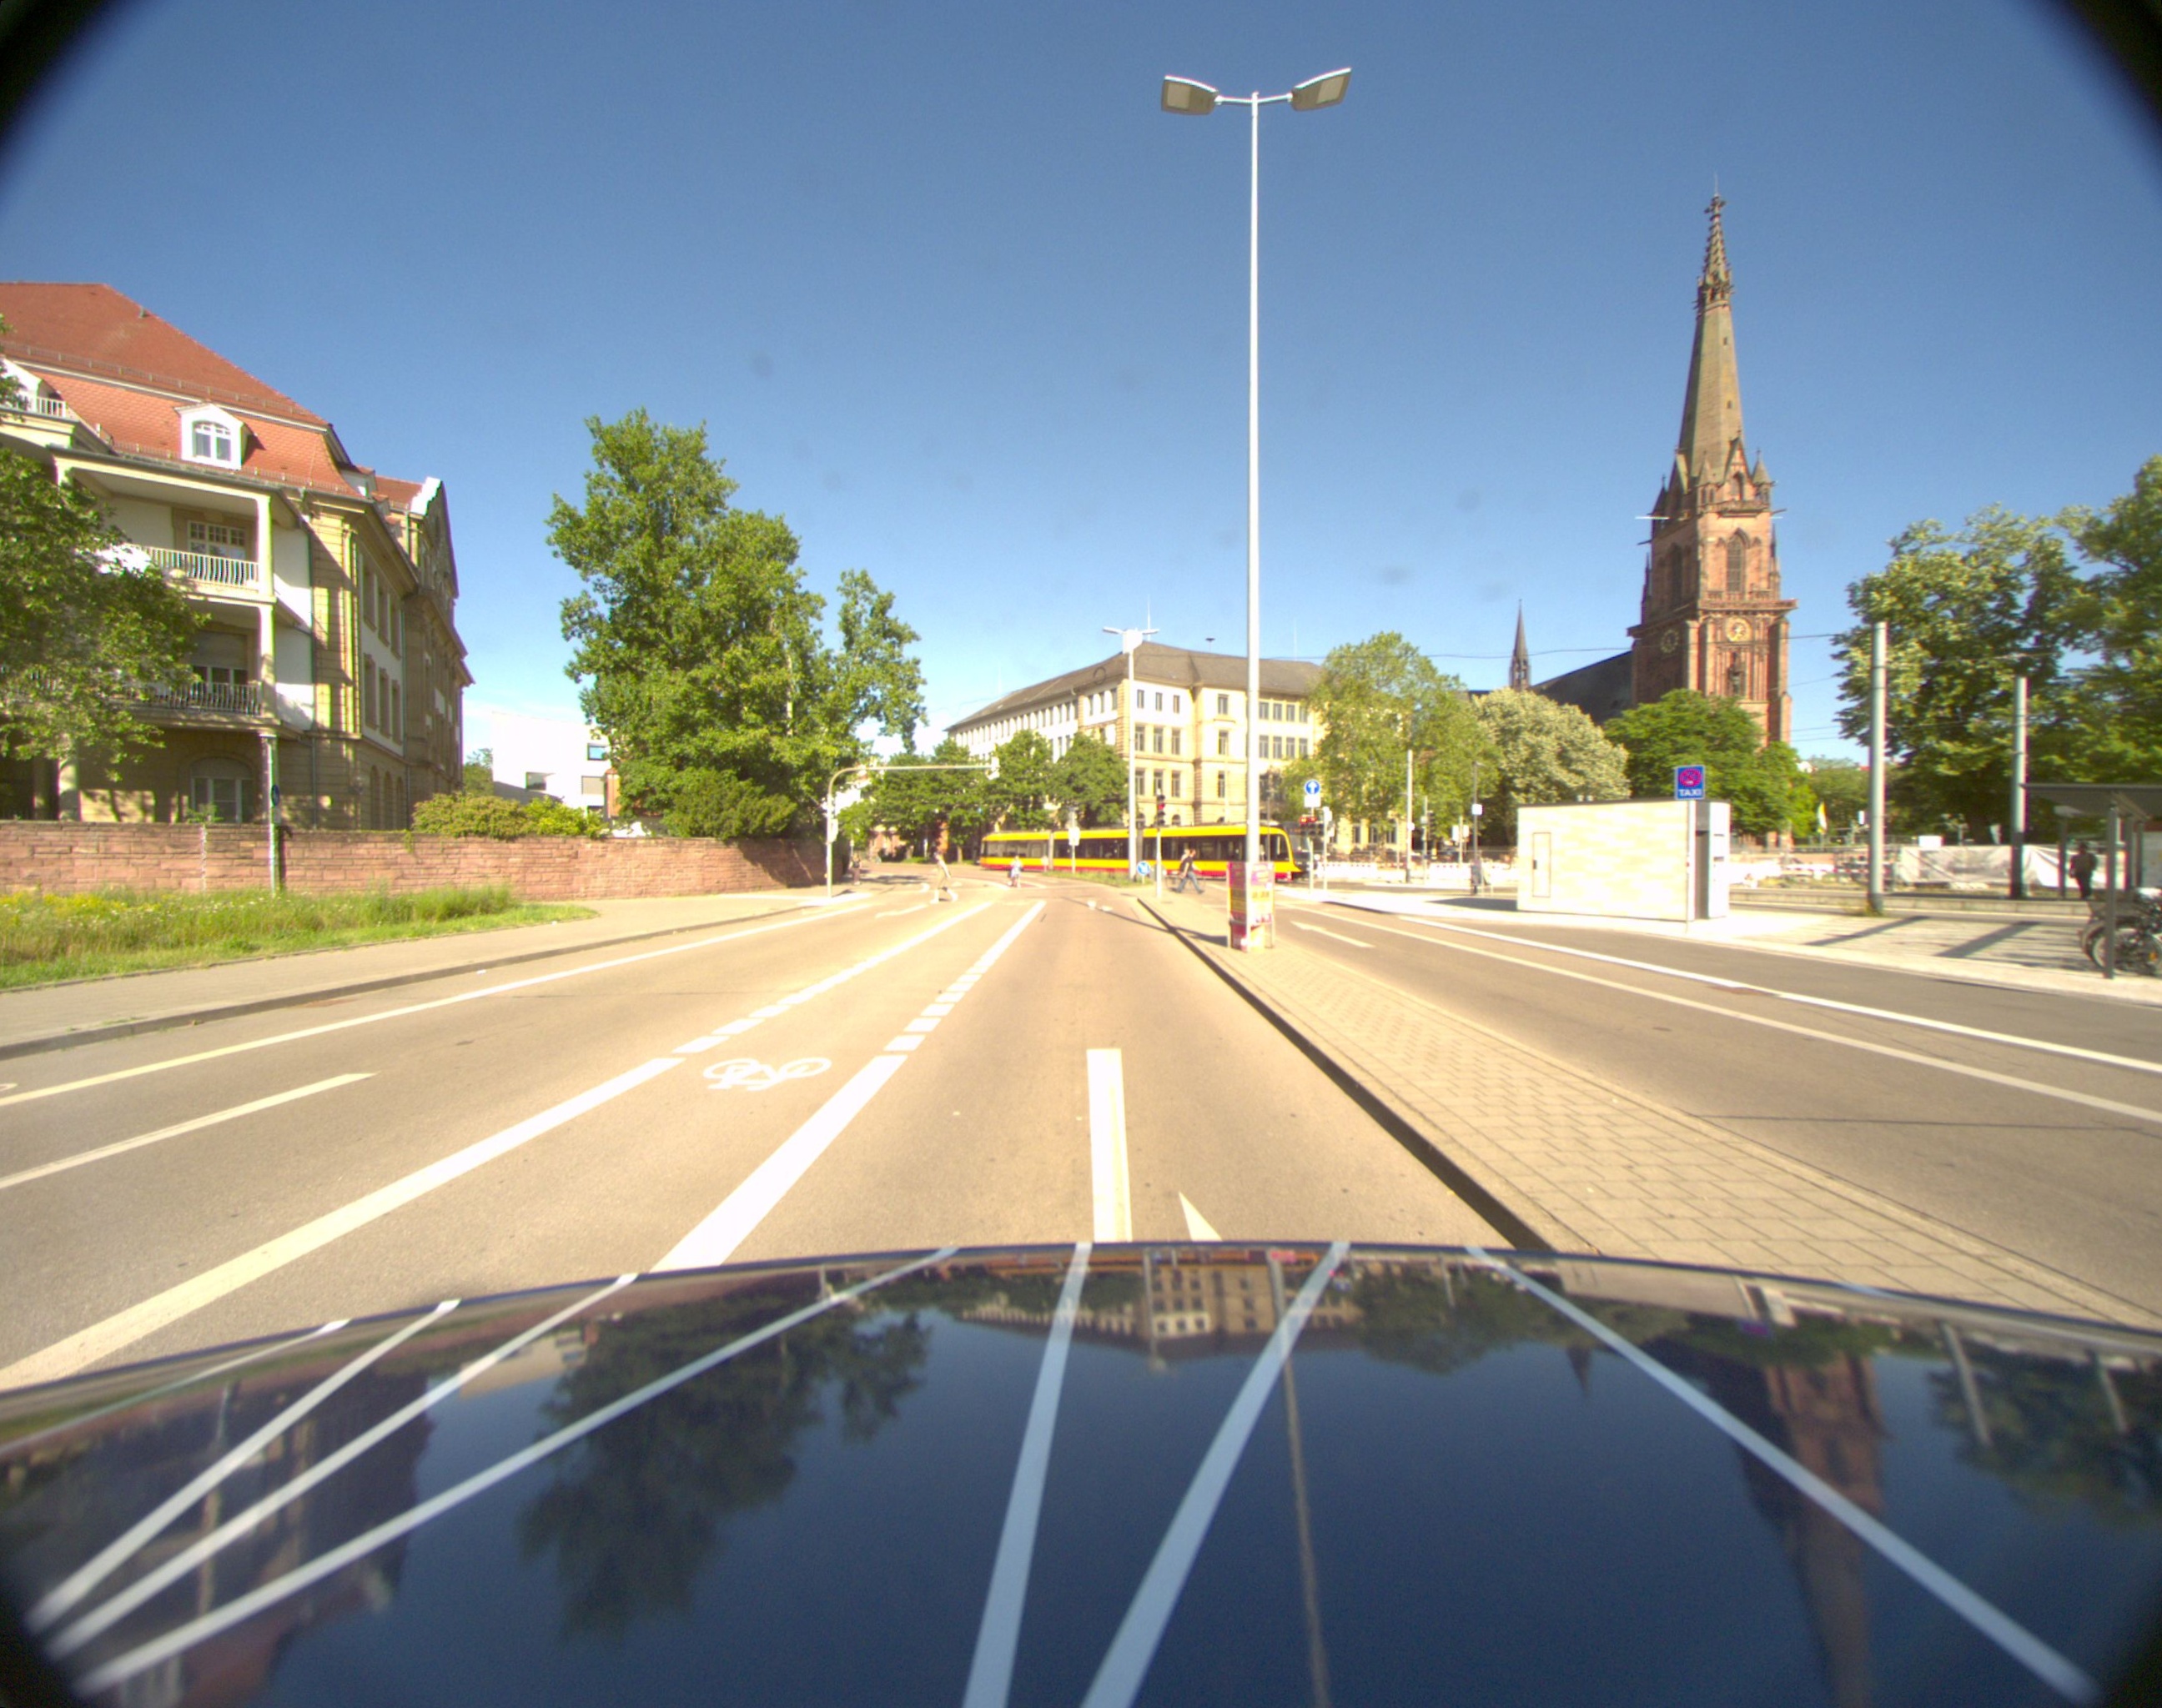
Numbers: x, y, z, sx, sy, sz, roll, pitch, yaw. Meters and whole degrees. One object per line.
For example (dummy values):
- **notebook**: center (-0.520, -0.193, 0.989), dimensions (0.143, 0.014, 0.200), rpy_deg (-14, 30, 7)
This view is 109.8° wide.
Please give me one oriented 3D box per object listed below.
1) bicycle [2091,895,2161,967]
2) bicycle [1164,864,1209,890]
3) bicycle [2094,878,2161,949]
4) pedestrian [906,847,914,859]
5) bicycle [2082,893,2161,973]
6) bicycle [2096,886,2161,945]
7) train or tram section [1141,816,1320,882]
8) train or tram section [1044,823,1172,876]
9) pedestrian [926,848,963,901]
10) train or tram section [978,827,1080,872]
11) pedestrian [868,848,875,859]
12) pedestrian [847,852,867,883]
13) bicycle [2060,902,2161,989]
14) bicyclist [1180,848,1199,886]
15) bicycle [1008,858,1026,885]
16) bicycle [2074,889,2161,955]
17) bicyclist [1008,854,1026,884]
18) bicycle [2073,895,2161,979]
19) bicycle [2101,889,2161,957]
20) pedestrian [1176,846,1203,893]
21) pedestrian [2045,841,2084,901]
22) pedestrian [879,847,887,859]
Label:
- **bicycle**: center (16.188, 1.154, 10.993), dimensions (0.630, 1.002, 1.826), rpy_deg (-1, 1, -32)
- **bicycle**: center (4.558, 0.997, 32.891), dimensions (1.882, 1.064, 0.725), rpy_deg (-1, 1, 9)
- **bicycle**: center (18.956, 1.040, 13.041), dimensions (0.630, 1.173, 1.826), rpy_deg (-1, 1, -32)
- **pedestrian**: center (-25.257, -0.135, 112.137), dimensions (0.979, 1.801, 0.758), rpy_deg (-3, -2, 6)
- **bicycle**: center (15.151, 1.109, 10.321), dimensions (0.574, 1.045, 1.826), rpy_deg (-1, 1, -32)
- **bicycle**: center (19.535, 1.116, 13.450), dimensions (0.630, 1.002, 1.826), rpy_deg (-1, 1, -32)
- **train or tram section**: center (8.716, -0.300, 46.863), dimensions (2.838, 3.580, 12.294), rpy_deg (-1, 1, -35)
- **train or tram section**: center (1.686, -0.351, 57.010), dimensions (2.806, 3.580, 12.294), rpy_deg (-1, 1, -35)
- **pedestrian**: center (-4.904, 0.723, 27.268), dimensions (1.230, 1.845, 0.826), rpy_deg (0, 1, -13)
- **train or tram section**: center (-4.828, -0.433, 66.394), dimensions (2.806, 3.580, 12.504), rpy_deg (-1, 1, -35)
- **pedestrian**: center (-33.577, -0.102, 121.769), dimensions (0.759, 1.802, 0.978), rpy_deg (-1, 1, -38)
- **pedestrian**: center (-12.375, 0.730, 42.036), dimensions (0.940, 1.711, 0.994), rpy_deg (0, 1, -12)
- **bicycle**: center (13.943, 1.199, 9.584), dimensions (0.702, 1.002, 1.863), rpy_deg (-1, 2, -32)
- **bicyclist**: center (4.686, 0.553, 32.860), dimensions (0.776, 1.596, 0.723), rpy_deg (-1, 1, 8)
- **bicycle**: center (-3.361, 0.894, 39.840), dimensions (0.762, 1.360, 2.736), rpy_deg (0, 1, -8)
- **bicycle**: center (17.823, 1.129, 12.453), dimensions (0.630, 1.002, 1.826), rpy_deg (-1, 1, -32)
- **bicyclist**: center (-3.362, 0.759, 39.660), dimensions (0.870, 1.551, 1.279), rpy_deg (0, 1, -8)
- **bicycle**: center (14.681, 1.123, 10.055), dimensions (0.630, 1.059, 1.826), rpy_deg (-1, 1, -32)
- **bicycle**: center (17.175, 1.092, 11.617), dimensions (0.630, 1.002, 1.826), rpy_deg (-1, 1, -32)
- **pedestrian**: center (4.339, 0.621, 30.362), dimensions (0.960, 1.839, 0.732), rpy_deg (2, 1, 12)
- **pedestrian**: center (30.726, 0.515, 23.749), dimensions (0.606, 1.845, 0.679), rpy_deg (-1, 1, -34)
- **pedestrian**: center (-29.544, -0.125, 113.468), dimensions (0.759, 1.802, 0.977), rpy_deg (-1, 1, -40)
